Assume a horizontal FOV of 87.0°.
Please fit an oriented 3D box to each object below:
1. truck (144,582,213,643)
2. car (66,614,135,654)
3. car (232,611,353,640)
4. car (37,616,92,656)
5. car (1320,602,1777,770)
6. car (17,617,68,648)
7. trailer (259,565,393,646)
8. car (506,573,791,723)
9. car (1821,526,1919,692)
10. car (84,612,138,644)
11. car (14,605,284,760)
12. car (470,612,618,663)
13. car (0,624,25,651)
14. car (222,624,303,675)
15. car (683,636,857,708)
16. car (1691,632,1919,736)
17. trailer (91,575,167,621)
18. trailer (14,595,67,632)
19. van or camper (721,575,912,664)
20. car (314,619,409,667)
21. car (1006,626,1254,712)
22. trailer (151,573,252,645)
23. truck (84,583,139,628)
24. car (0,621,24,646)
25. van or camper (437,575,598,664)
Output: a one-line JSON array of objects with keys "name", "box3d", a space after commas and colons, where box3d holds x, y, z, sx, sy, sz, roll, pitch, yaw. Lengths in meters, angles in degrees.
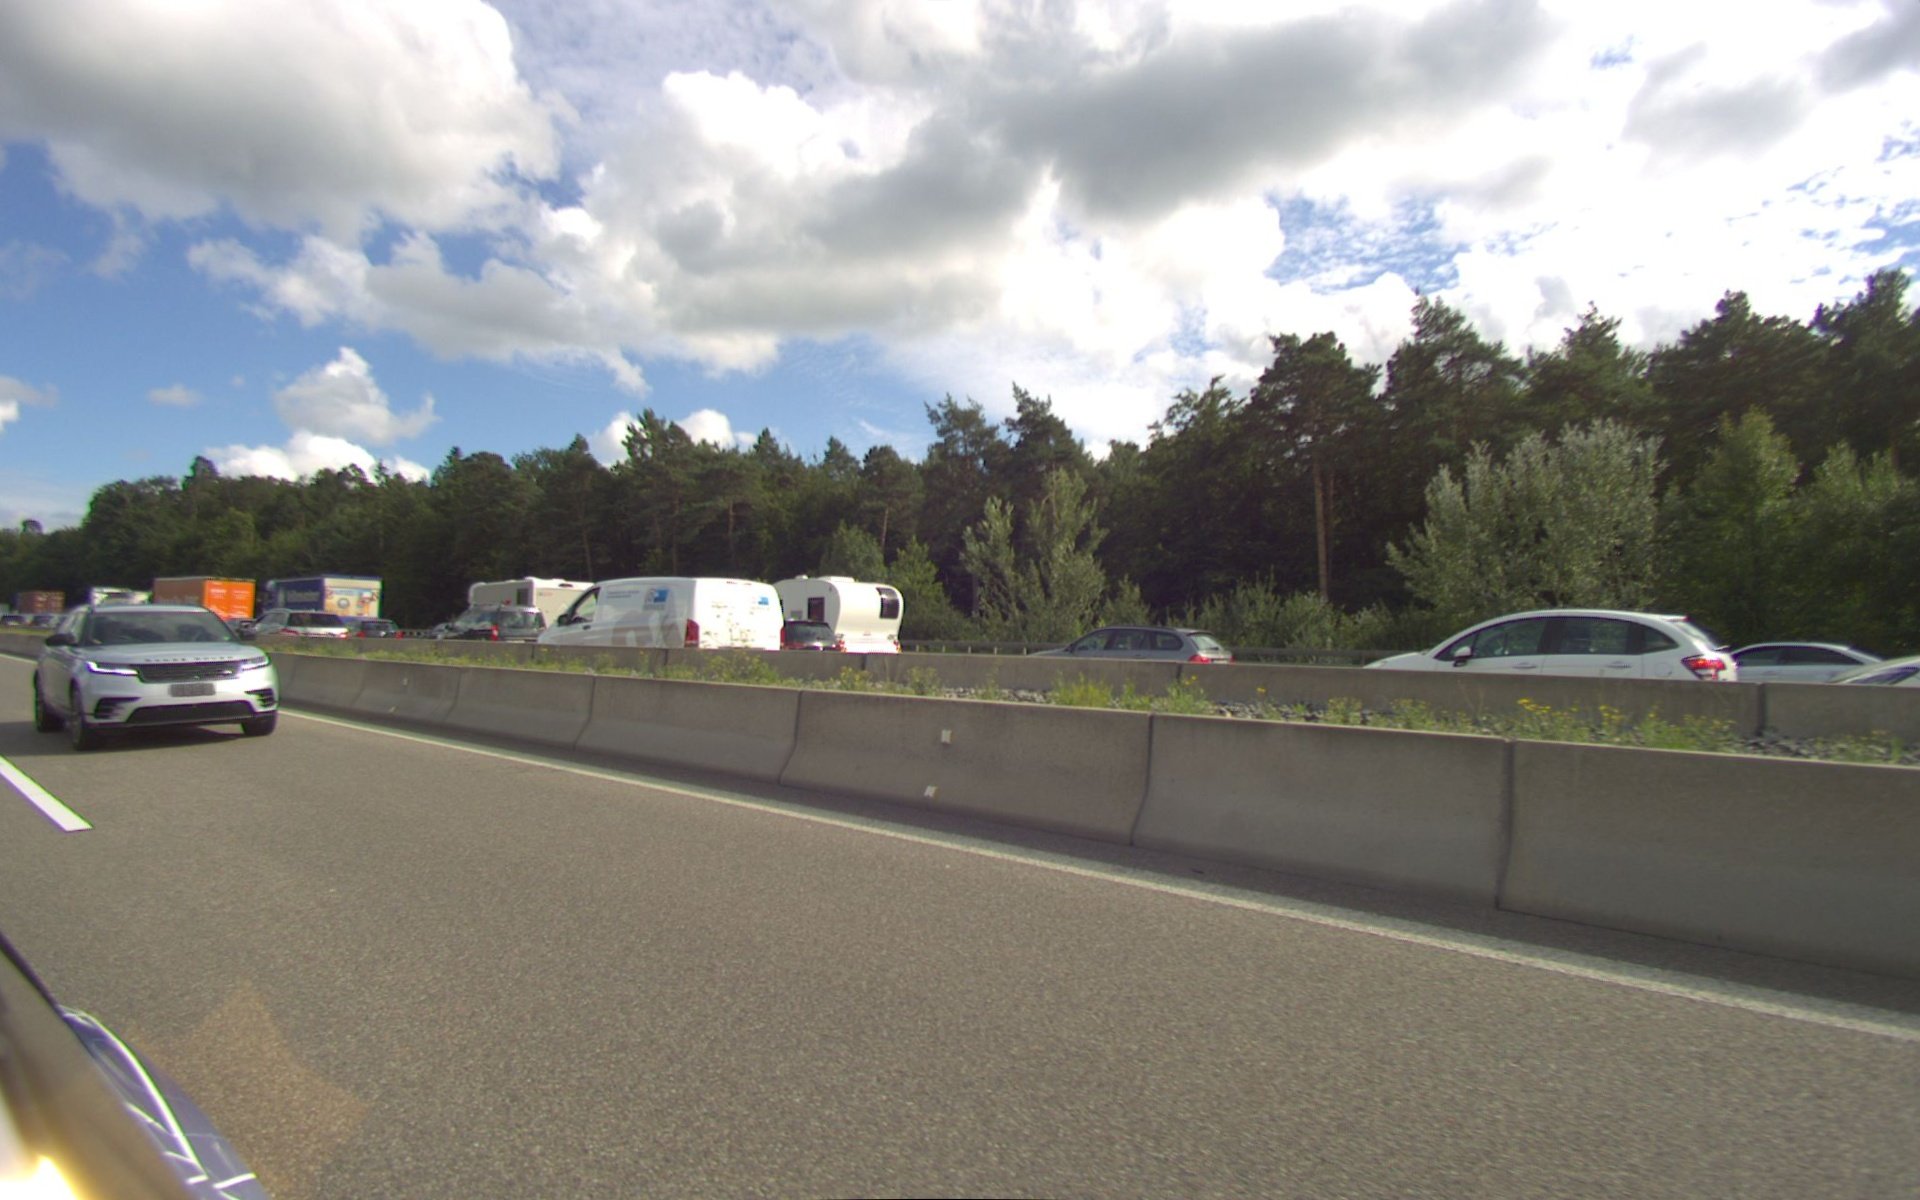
[{"name": "truck", "box3d": [-54.543, 0.878, 70.600, 6.714, 4.102, 2.587, -1, -1, 41]}, {"name": "car", "box3d": [-40.546, 1.571, 47.683, 4.627, 1.777, 1.798, -1, -1, 41]}, {"name": "car", "box3d": [-18.311, 0.687, 27.680, 4.445, 0.730, 1.630, -1, -1, 41]}, {"name": "car", "box3d": [-48.846, 1.919, 55.165, 4.681, 2.029, 1.725, 0, 0, 42]}, {"name": "car", "box3d": [6.548, 0.835, 11.528, 4.240, 1.549, 1.813, -1, 0, 41]}, {"name": "car", "box3d": [-57.847, 2.027, 63.792, 4.900, 1.896, 1.798, -1, -1, 41]}, {"name": "trailer", "box3d": [-31.789, 0.323, 50.486, 10.215, 3.686, 2.857, -1, -1, 41]}, {"name": "car", "box3d": [-5.255, 0.738, 16.579, 5.497, 2.078, 1.813, -1, -2, 41]}, {"name": "car", "box3d": [7.396, 0.012, 5.208, 4.486, 0.947, 1.626, -1, 0, 41]}, {"name": "car", "box3d": [-55.300, 1.760, 65.915, 4.988, 1.974, 1.973, 0, 0, 41]}, {"name": "car", "box3d": [-10.581, 0.924, 13.040, 5.103, 1.619, 1.880, -2, -1, 41]}, {"name": "car", "box3d": [-11.231, 0.964, 27.172, 4.564, 1.240, 1.813, -1, -1, 41]}, {"name": "car", "box3d": [-70.947, 2.779, 75.128, 4.902, 1.896, 1.797, -1, -1, 42]}, {"name": "car", "box3d": [-30.692, 2.119, 44.477, 4.634, 2.076, 1.813, -1, -1, 41]}, {"name": "car", "box3d": [-3.950, 1.417, 20.833, 3.588, 1.266, 1.646, -1, 0, 41]}, {"name": "car", "box3d": [15.953, 1.439, 18.140, 4.479, 1.668, 1.813, -1, -1, 41]}, {"name": "trailer", "box3d": [-68.426, -0.147, 83.203, 12.226, 3.524, 2.919, 0, 0, 41]}, {"name": "trailer", "box3d": [-103.154, 1.444, 113.424, 12.886, 4.013, 2.919, 0, 0, 41]}, {"name": "van or camper", "box3d": [-3.696, 0.472, 25.614, 4.685, 2.026, 2.260, -1, 0, 41]}, {"name": "car", "box3d": [-22.283, 1.542, 37.619, 4.269, 1.672, 1.813, -1, -1, 41]}, {"name": "car", "box3d": [3.132, 1.226, 19.247, 4.432, 1.401, 1.682, -1, 0, 41]}, {"name": "trailer", "box3d": [-50.139, 0.564, 66.695, 13.171, 4.352, 2.612, 0, 1, 41]}, {"name": "truck", "box3d": [-73.519, 0.511, 87.640, 5.106, 3.775, 2.926, -1, -1, 41]}, {"name": "car", "box3d": [-70.966, 2.441, 75.053, 4.902, 1.759, 1.797, -1, -1, 42]}, {"name": "van or camper", "box3d": [-16.110, 0.595, 36.576, 7.480, 2.911, 2.444, 1, 1, 42]}]
